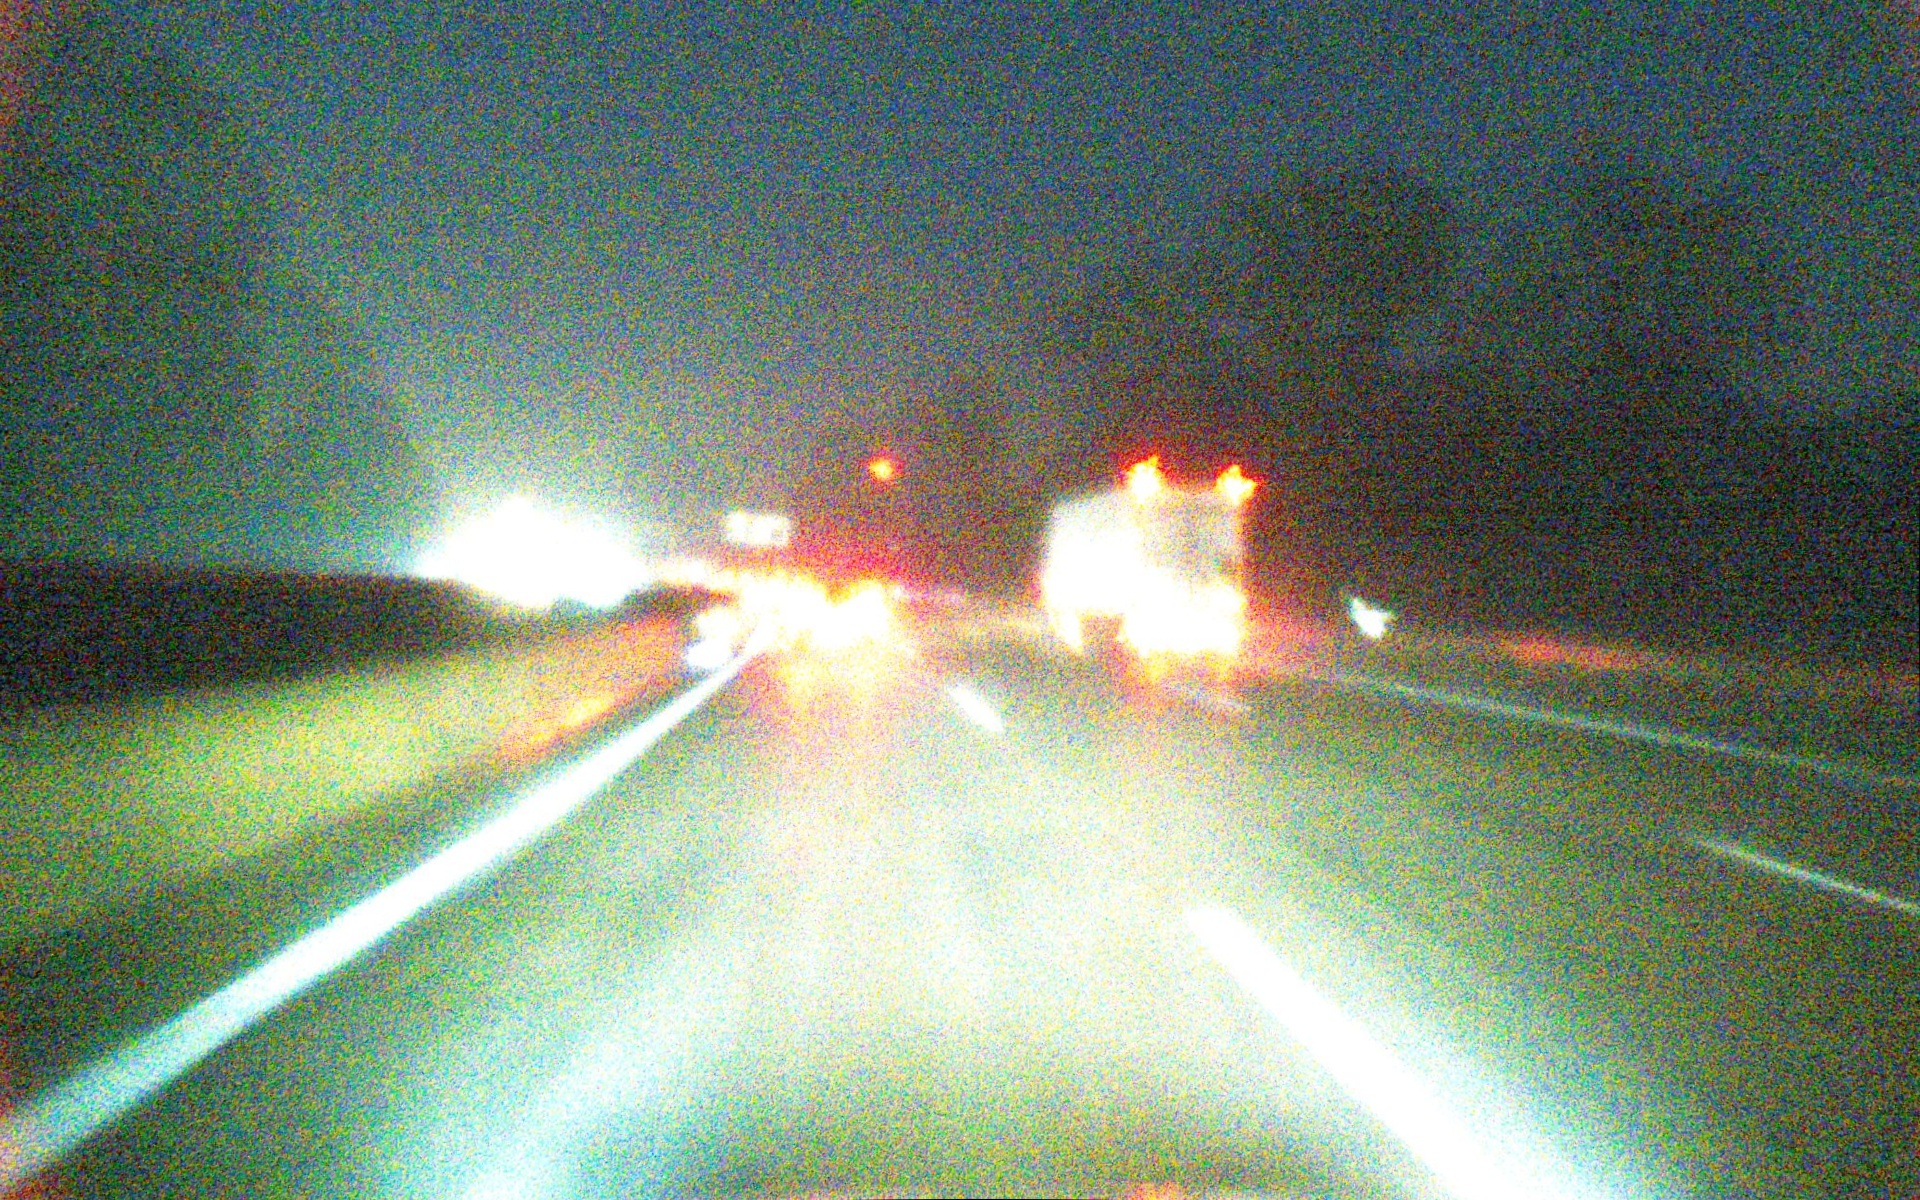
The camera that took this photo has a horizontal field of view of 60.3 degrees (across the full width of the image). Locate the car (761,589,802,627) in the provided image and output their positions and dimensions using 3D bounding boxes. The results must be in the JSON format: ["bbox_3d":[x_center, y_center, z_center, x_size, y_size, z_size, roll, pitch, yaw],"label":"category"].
[{"bbox_3d":[-9.971,0.414,92.086,1.957,2.049,3.990,1,0,-10],"label":"car"}]

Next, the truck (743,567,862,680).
[{"bbox_3d":[-3.422,0.448,37.101,2.103,2.113,6.601,5,0,-2],"label":"truck"}]

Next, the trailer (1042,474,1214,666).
[{"bbox_3d":[4.154,-0.756,44.197,2.684,4.322,13.366,-1,1,-2],"label":"trailer"}]

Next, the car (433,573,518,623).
[{"bbox_3d":[-17.370,-0.096,59.491,1.955,1.504,3.998,5,1,-3],"label":"car"}]

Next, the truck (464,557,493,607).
[{"bbox_3d":[-53.641,-2.017,184.348,2.708,5.184,5.858,5,1,-16],"label":"truck"}]

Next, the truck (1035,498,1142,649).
[{"bbox_3d":[3.854,-0.787,50.733,2.655,4.315,5.291,1,0,-1],"label":"truck"}]
